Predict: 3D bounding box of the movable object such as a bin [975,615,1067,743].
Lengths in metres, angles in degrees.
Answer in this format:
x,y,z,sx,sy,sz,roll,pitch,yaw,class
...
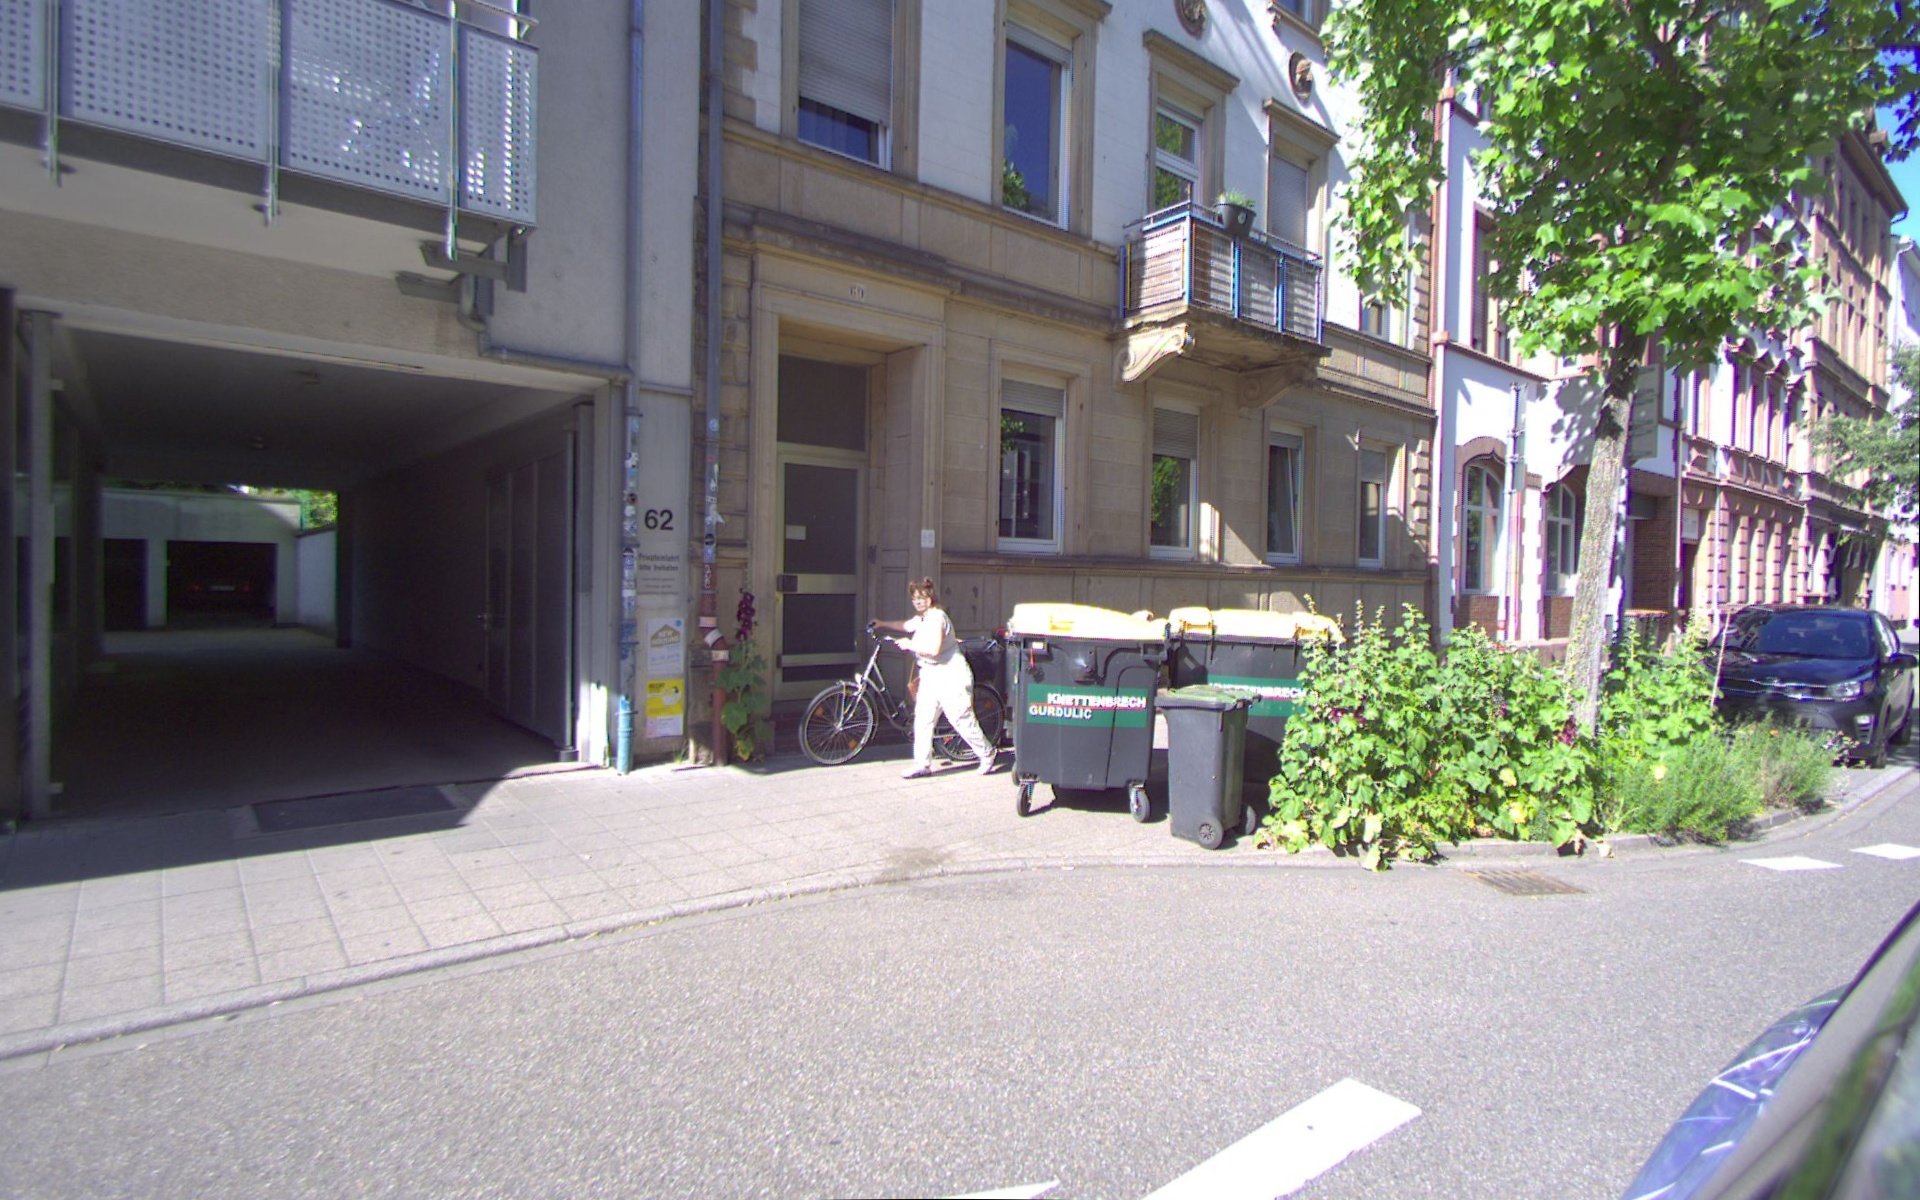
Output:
x,y,z,sx,sy,sz,roll,pitch,yaw,class
0.534,0.674,8.944,0.536,1.055,0.599,0,1,-40,movable object such as a bin

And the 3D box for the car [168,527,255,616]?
x,y,z,sx,sy,sz,roll,pitch,yaw,class
-19.992,-0.809,26.981,1.539,1.556,4.004,0,12,-41,car

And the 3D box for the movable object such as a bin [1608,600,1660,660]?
x,y,z,sx,sy,sz,roll,pitch,yaw,class
12.690,0.546,19.058,0.621,1.082,0.639,0,1,-40,movable object such as a bin

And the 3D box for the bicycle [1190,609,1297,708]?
x,y,z,sx,sy,sz,roll,pitch,yaw,class
3.321,0.652,11.788,1.403,1.043,0.433,0,4,-40,bicycle

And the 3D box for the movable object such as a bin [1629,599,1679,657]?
x,y,z,sx,sy,sz,roll,pitch,yaw,class
13.566,0.538,19.780,0.628,1.082,0.639,0,1,-40,movable object such as a bin

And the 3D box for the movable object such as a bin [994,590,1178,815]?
x,y,z,sx,sy,sz,roll,pitch,yaw,class
0.812,0.648,6.924,1.087,1.364,1.042,1,3,0,movable object such as a bin

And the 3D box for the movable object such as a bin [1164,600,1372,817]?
x,y,z,sx,sy,sz,roll,pitch,yaw,class
2.149,0.714,7.290,1.250,1.364,1.106,1,1,9,movable object such as a bin

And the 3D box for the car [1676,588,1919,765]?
x,y,z,sx,sy,sz,roll,pitch,yaw,class
8.984,0.649,10.597,3.518,1.494,1.638,0,2,-41,car

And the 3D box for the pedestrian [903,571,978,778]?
x,y,z,sx,sy,sz,roll,pitch,yaw,class
-0.147,0.535,7.570,0.382,1.487,0.368,0,2,-41,pedestrian

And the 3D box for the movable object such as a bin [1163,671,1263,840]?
x,y,z,sx,sy,sz,roll,pitch,yaw,class
1.574,0.940,6.289,0.441,0.941,0.465,1,1,38,movable object such as a bin

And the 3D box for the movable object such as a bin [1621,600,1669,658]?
x,y,z,sx,sy,sz,roll,pitch,yaw,class
13.132,0.544,19.405,0.512,1.082,0.639,0,1,-40,movable object such as a bin

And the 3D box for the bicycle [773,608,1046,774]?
x,y,z,sx,sy,sz,roll,pitch,yaw,class
-0.362,0.652,7.902,2.081,1.163,0.539,0,1,-28,bicycle
